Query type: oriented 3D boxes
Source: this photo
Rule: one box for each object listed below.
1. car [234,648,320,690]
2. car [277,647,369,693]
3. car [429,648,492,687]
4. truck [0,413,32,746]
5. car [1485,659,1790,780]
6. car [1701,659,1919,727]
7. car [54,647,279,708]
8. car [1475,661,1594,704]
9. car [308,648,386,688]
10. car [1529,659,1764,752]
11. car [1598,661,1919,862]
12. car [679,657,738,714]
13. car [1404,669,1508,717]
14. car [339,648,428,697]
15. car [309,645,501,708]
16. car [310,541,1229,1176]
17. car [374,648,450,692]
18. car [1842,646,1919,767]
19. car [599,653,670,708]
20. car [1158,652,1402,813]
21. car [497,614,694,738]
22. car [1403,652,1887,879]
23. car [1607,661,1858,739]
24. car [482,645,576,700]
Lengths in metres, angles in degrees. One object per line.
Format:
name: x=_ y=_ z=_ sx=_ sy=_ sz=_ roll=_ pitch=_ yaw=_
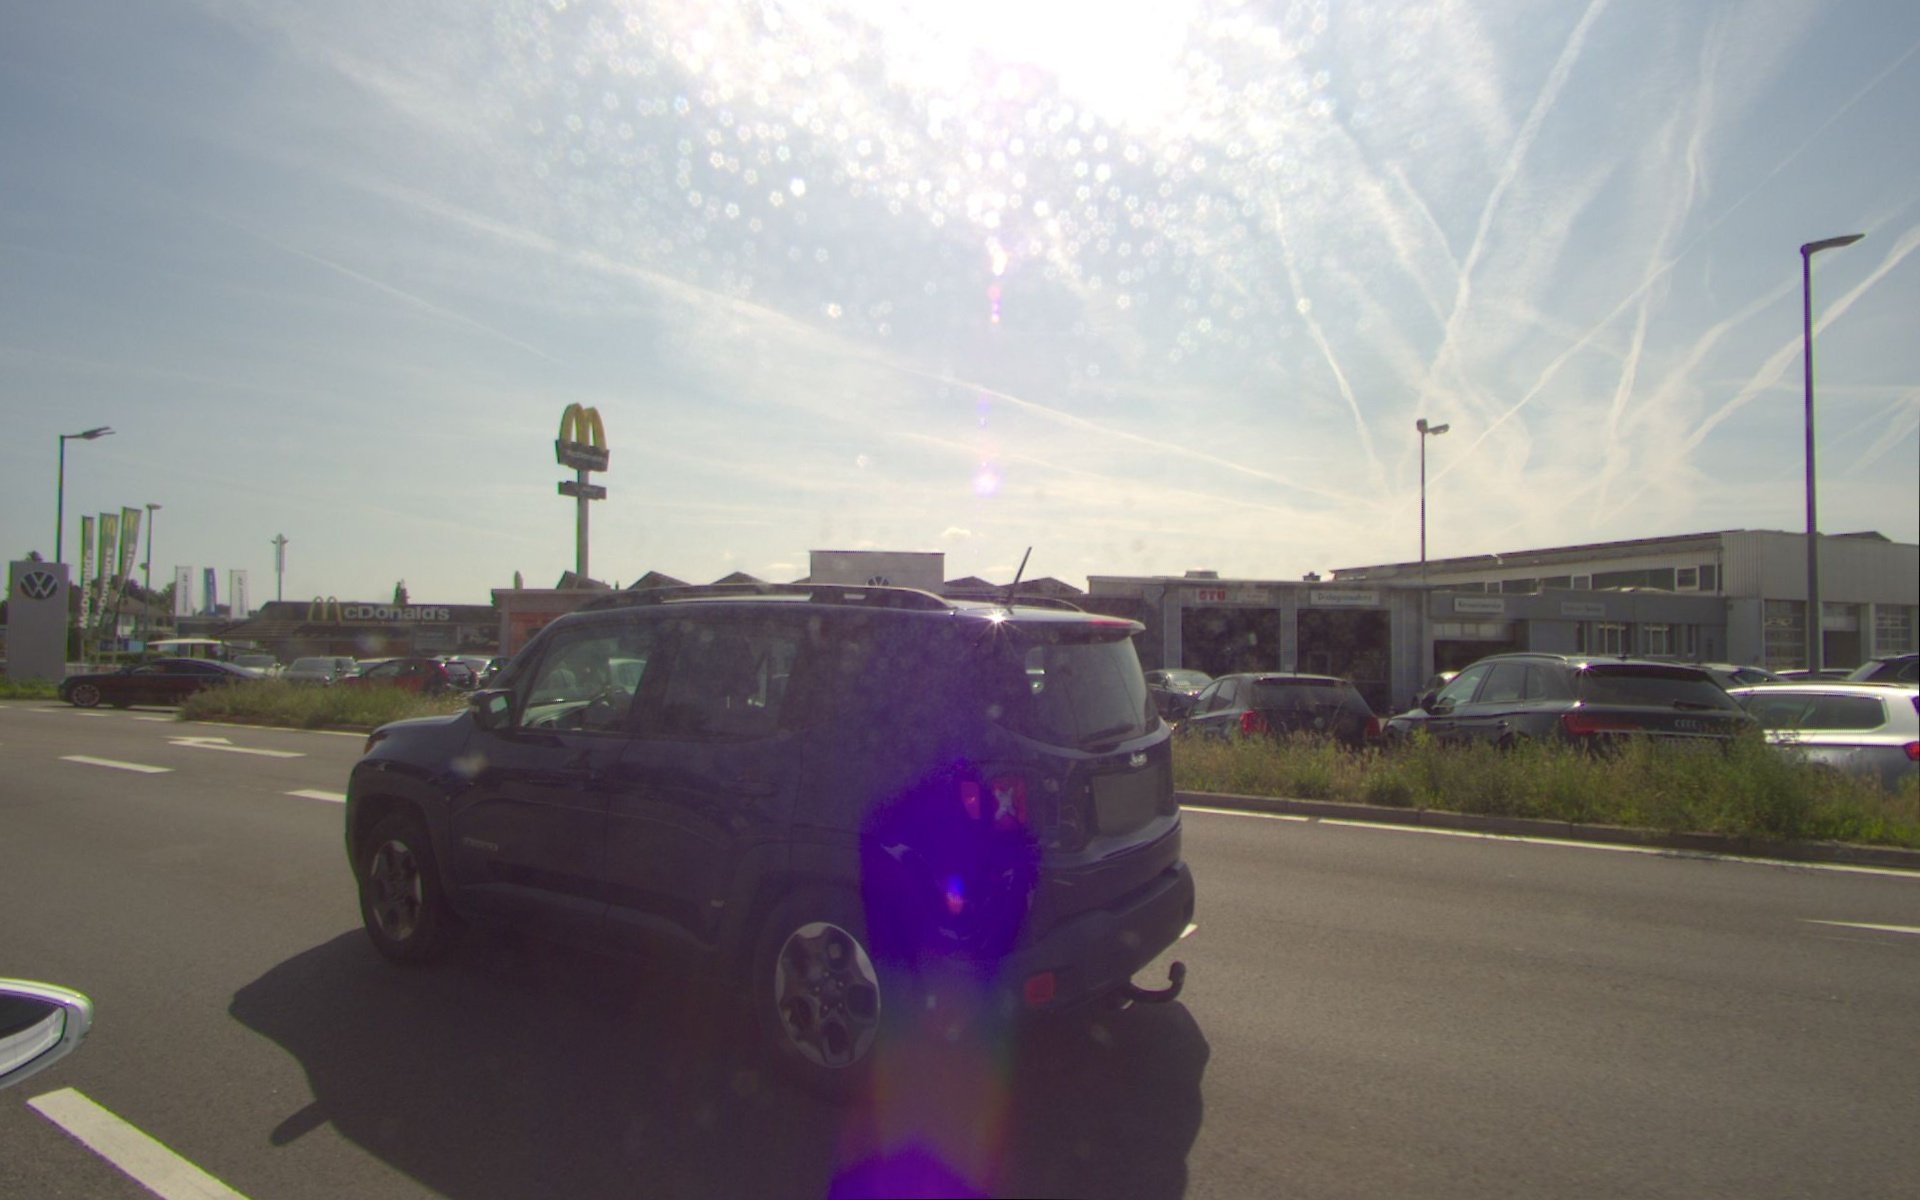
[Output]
car: x=-26.777 y=2.666 z=39.392 sx=1.733 sy=1.550 sz=3.263 roll=1 pitch=-2 yaw=-14
car: x=-23.234 y=2.514 z=36.644 sx=1.737 sy=1.550 sz=3.627 roll=1 pitch=-2 yaw=-14
car: x=-21.385 y=2.858 z=42.999 sx=1.656 sy=1.550 sz=3.594 roll=1 pitch=-2 yaw=-14
truck: x=-19.990 y=-0.164 z=16.400 sx=16.348 sy=4.324 sz=2.952 roll=-1 pitch=-2 yaw=33
car: x=11.536 y=1.954 z=17.347 sx=4.174 sy=1.777 sz=1.898 roll=-1 pitch=-2 yaw=34
car: x=21.844 y=2.304 z=25.666 sx=1.959 sy=1.526 sz=4.204 roll=2 pitch=-3 yaw=-36
car: x=-20.434 y=1.982 z=25.988 sx=4.125 sy=1.473 sz=1.845 roll=1 pitch=-2 yaw=-16
car: x=18.929 y=2.704 z=33.176 sx=1.575 sy=1.270 sz=3.722 roll=1 pitch=-2 yaw=-5
car: x=-24.690 y=2.714 z=40.461 sx=1.733 sy=1.550 sz=3.263 roll=1 pitch=-2 yaw=-14
car: x=13.325 y=1.995 z=19.677 sx=3.668 sy=1.601 sz=1.598 roll=-1 pitch=-2 yaw=33
car: x=8.102 y=1.333 z=9.382 sx=1.704 sy=1.420 sz=4.040 roll=0 pitch=-2 yaw=1
car: x=-7.792 y=2.603 z=31.259 sx=1.671 sy=1.577 sz=3.784 roll=1 pitch=-2 yaw=-12
car: x=16.379 y=3.036 z=33.251 sx=1.642 sy=1.382 sz=3.768 roll=0 pitch=-2 yaw=1
car: x=-19.540 y=2.430 z=34.115 sx=1.656 sy=1.550 sz=3.594 roll=1 pitch=-2 yaw=-14
car: x=-14.434 y=1.973 z=26.206 sx=3.922 sy=1.550 sz=2.001 roll=0 pitch=-2 yaw=4
car: x=-1.004 y=0.743 z=4.536 sx=3.944 sy=1.707 sz=1.815 roll=-1 pitch=-1 yaw=33
car: x=-20.941 y=2.642 z=38.378 sx=1.656 sy=1.550 sz=3.594 roll=1 pitch=-2 yaw=-14
car: x=16.166 y=1.615 z=15.032 sx=4.177 sy=1.812 sz=1.972 roll=-1 pitch=-3 yaw=36
car: x=-10.060 y=2.457 z=31.207 sx=1.771 sy=1.550 sz=4.224 roll=1 pitch=-2 yaw=-14
car: x=3.617 y=1.433 z=12.094 sx=1.704 sy=1.555 sz=4.040 roll=0 pitch=-2 yaw=1
car: x=-6.258 y=1.261 z=17.694 sx=1.670 sy=1.945 sz=3.847 roll=0 pitch=-2 yaw=8
car: x=5.784 y=1.280 z=9.173 sx=1.704 sy=1.555 sz=4.040 roll=0 pitch=-2 yaw=1
car: x=17.600 y=2.206 z=22.994 sx=1.959 sy=1.526 sz=4.204 roll=2 pitch=-3 yaw=-36
car: x=-13.081 y=2.164 z=30.604 sx=1.964 sy=1.550 sz=3.997 roll=1 pitch=-2 yaw=-14
